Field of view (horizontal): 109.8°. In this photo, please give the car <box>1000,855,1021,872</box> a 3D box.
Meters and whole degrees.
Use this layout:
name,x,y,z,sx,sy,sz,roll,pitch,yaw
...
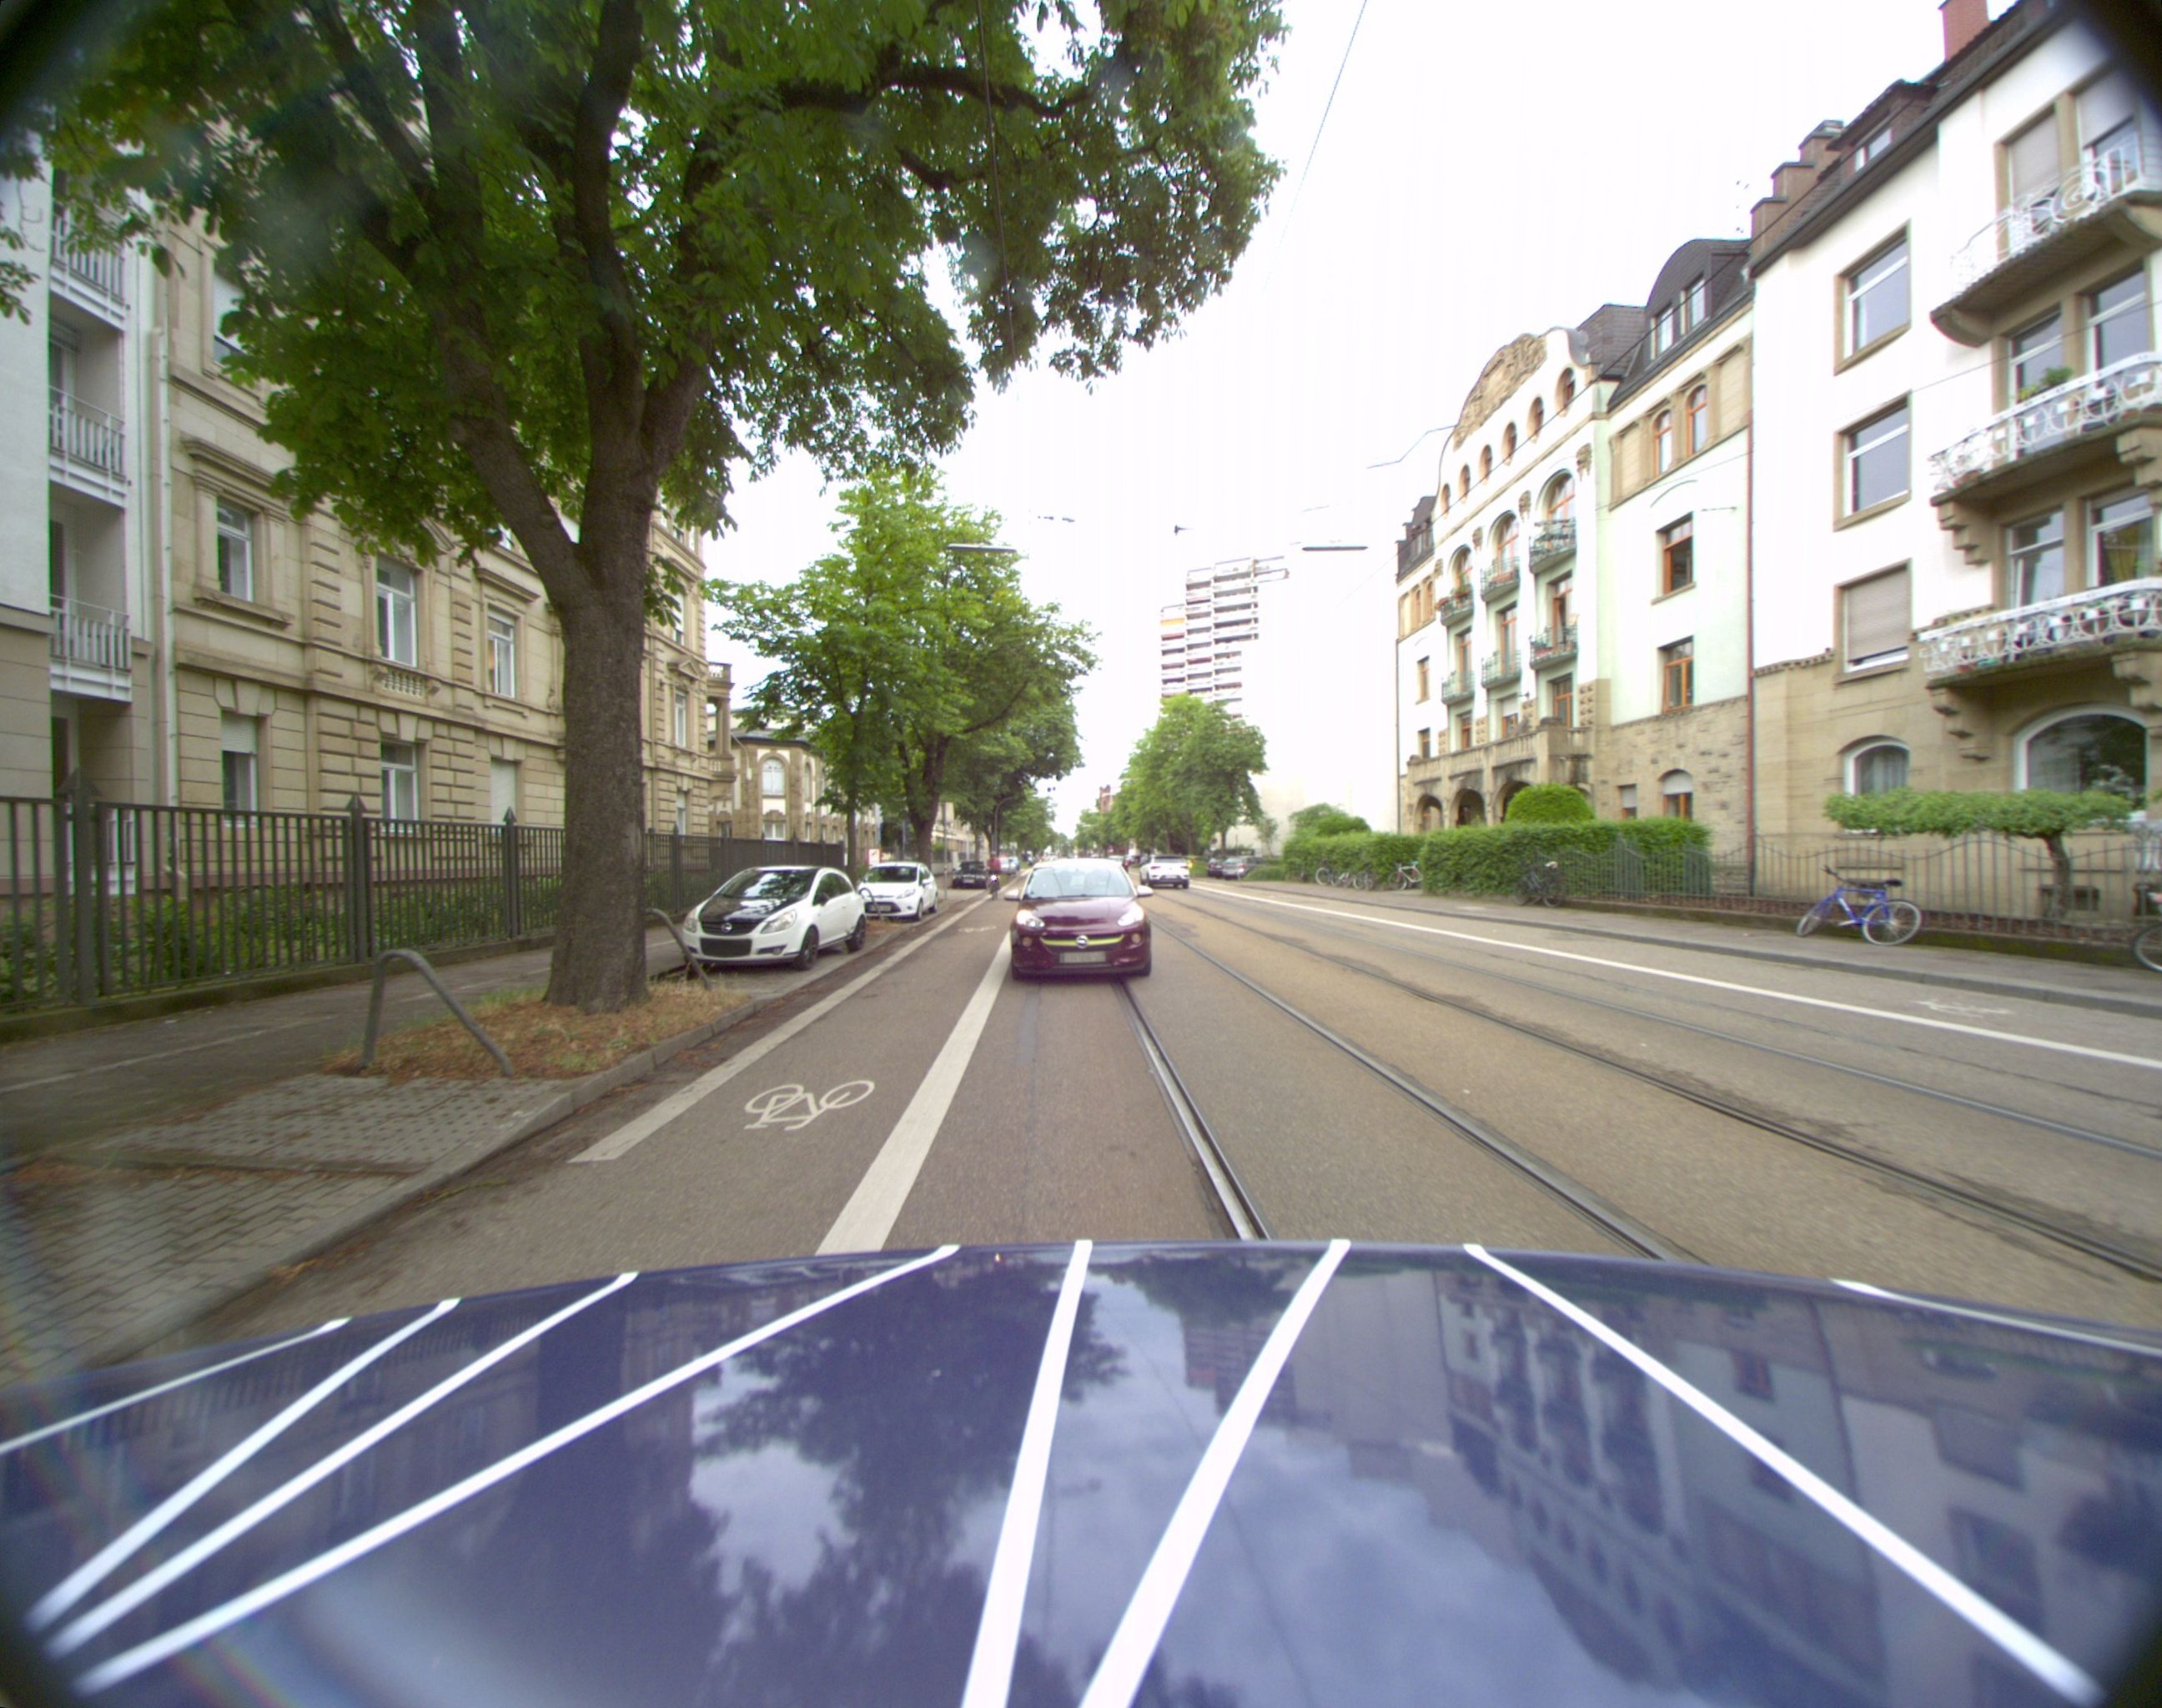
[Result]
name,x,y,z,sx,sy,sz,roll,pitch,yaw
car,-6.282,0.854,68.291,1.606,1.416,3.836,1,0,-2

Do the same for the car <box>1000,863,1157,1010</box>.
name,x,y,z,sx,sy,sz,roll,pitch,yaw
car,-0.051,0.900,9.935,1.606,1.427,3.776,-2,0,-1

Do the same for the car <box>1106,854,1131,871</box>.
name,x,y,z,sx,sy,sz,roll,pitch,yaw
car,3.134,0.677,63.895,1.613,1.414,3.484,0,0,-5

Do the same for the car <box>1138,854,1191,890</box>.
name,x,y,z,sx,sy,sz,roll,pitch,yaw
car,3.677,0.759,34.185,1.703,1.487,3.929,0,0,-4

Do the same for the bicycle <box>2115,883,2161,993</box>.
name,x,y,z,sx,sy,sz,roll,pitch,yaw
bicycle,11.182,0.855,7.191,0.386,1.095,1.623,-1,0,-13

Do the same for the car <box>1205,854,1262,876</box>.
name,x,y,z,sx,sy,sz,roll,pitch,yaw
car,10.354,0.711,51.555,4.008,1.395,1.690,-1,1,-41

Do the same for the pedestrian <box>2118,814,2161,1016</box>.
name,x,y,z,sx,sy,sz,roll,pitch,yaw
pedestrian,10.171,0.554,6.759,0.670,1.833,0.882,0,1,-3

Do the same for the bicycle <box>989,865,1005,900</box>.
name,x,y,z,sx,sy,sz,roll,pitch,yaw
bicycle,-3.052,1.027,27.818,0.414,1.197,1.706,-1,1,-1

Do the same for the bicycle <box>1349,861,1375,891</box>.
name,x,y,z,sx,sy,sz,roll,pitch,yaw
bicycle,10.467,0.811,28.340,0.360,1.077,1.546,-1,0,-2

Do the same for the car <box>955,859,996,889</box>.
name,x,y,z,sx,sy,sz,roll,pitch,yaw
car,-5.290,0.982,38.518,1.606,1.362,3.836,1,0,-2

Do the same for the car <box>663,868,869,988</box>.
name,x,y,z,sx,sy,sz,roll,pitch,yaw
car,-4.574,0.990,11.644,1.606,1.427,3.776,1,0,-1

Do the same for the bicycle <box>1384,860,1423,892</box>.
name,x,y,z,sx,sy,sz,roll,pitch,yaw
bicycle,11.493,0.777,27.113,1.205,1.077,0.300,-3,1,0

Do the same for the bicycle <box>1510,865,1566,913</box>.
name,x,y,z,sx,sy,sz,roll,pitch,yaw
bicycle,10.896,0.816,18.171,0.360,1.077,1.546,-1,0,-2

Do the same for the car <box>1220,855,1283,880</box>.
name,x,y,z,sx,sy,sz,roll,pitch,yaw
car,10.253,0.790,45.551,4.008,1.395,1.690,-1,1,-41

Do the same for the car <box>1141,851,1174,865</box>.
name,x,y,z,sx,sy,sz,roll,pitch,yaw
car,8.841,0.468,87.878,1.690,1.611,4.008,0,1,45

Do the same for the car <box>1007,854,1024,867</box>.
name,x,y,z,sx,sy,sz,roll,pitch,yaw
car,-6.932,0.696,80.702,1.606,1.362,3.836,1,0,-2

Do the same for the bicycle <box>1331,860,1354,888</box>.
name,x,y,z,sx,sy,sz,roll,pitch,yaw
bicycle,10.446,0.781,30.392,0.360,1.077,1.546,-1,0,-2

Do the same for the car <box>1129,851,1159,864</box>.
name,x,y,z,sx,sy,sz,roll,pitch,yaw
car,8.114,0.424,97.690,1.690,1.611,4.008,0,1,45

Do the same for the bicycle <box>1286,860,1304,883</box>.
name,x,y,z,sx,sy,sz,roll,pitch,yaw
bicycle,10.307,0.826,36.605,0.360,1.077,1.546,-1,0,-2

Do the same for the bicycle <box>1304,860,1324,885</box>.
name,x,y,z,sx,sy,sz,roll,pitch,yaw
bicycle,10.311,0.802,33.698,0.360,1.077,1.546,-1,0,-2

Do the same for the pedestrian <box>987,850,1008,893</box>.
name,x,y,z,sx,sy,sz,roll,pitch,yaw
pedestrian,-3.029,0.632,27.672,0.684,1.541,0.704,-1,1,-1

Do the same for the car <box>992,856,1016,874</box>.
name,x,y,z,sx,sy,sz,roll,pitch,yaw
car,-6.164,0.871,60.950,1.606,1.362,3.836,1,0,-2

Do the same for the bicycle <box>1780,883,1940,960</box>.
name,x,y,z,sx,sy,sz,roll,pitch,yaw
bicycle,11.237,0.938,11.044,0.358,0.924,1.661,18,0,1

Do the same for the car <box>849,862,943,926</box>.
name,x,y,z,sx,sy,sz,roll,pitch,yaw
car,-4.749,0.973,19.974,1.632,1.427,3.763,1,0,-2

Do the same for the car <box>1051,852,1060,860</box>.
name,x,y,z,sx,sy,sz,roll,pitch,yaw
car,-6.712,0.450,198.823,1.998,2.002,3.999,-2,1,1

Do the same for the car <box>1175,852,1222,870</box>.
name,x,y,z,sx,sy,sz,roll,pitch,yaw
car,9.547,0.571,61.703,1.690,1.387,4.008,0,1,45

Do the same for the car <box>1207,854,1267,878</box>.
name,x,y,z,sx,sy,sz,roll,pitch,yaw
car,9.971,0.733,48.375,4.008,1.395,1.690,-1,1,-41
